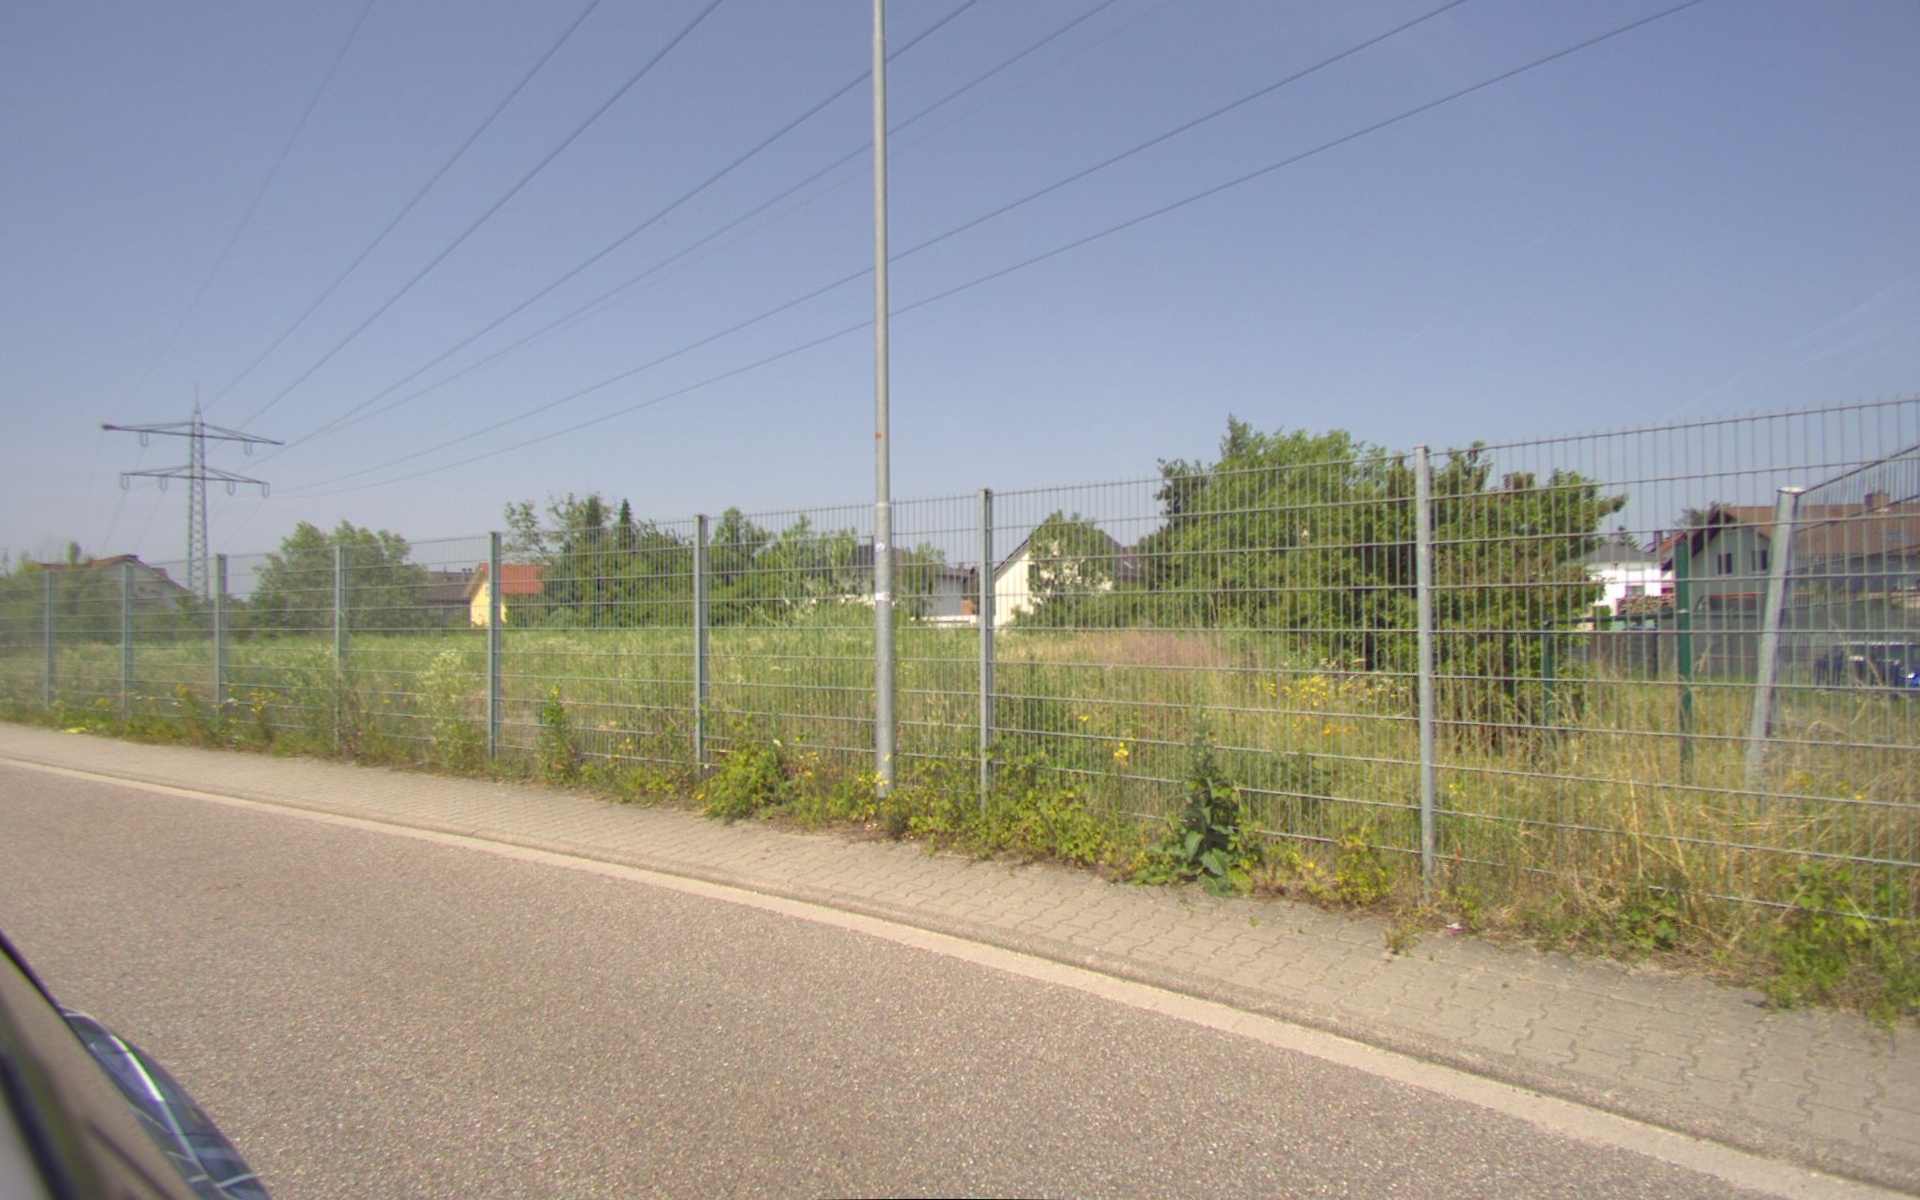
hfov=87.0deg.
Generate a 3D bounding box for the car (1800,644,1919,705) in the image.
[{"bbox_3d":[20.309,1.546,21.672,1.848,1.116,3.989,-1,-1,12],"label":"car"}]
